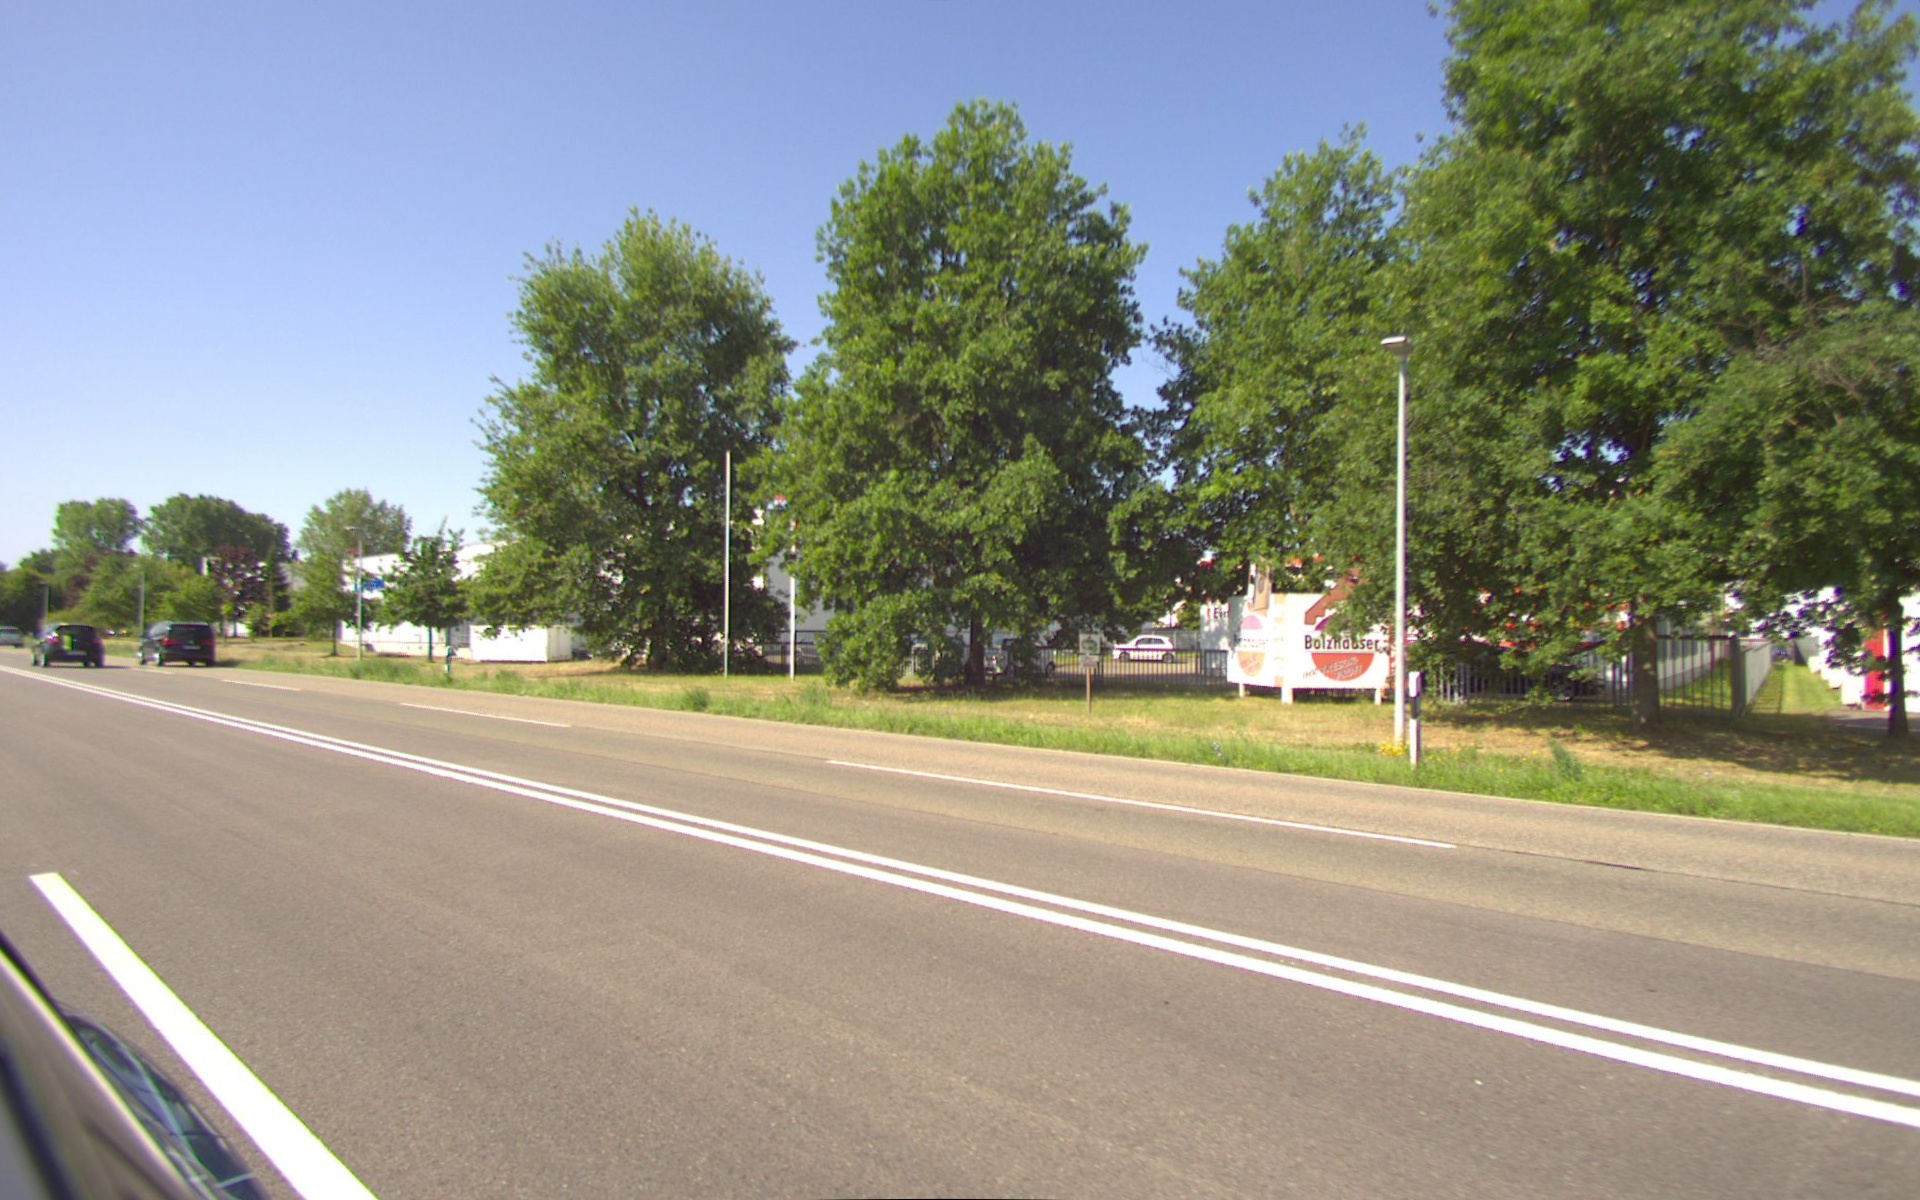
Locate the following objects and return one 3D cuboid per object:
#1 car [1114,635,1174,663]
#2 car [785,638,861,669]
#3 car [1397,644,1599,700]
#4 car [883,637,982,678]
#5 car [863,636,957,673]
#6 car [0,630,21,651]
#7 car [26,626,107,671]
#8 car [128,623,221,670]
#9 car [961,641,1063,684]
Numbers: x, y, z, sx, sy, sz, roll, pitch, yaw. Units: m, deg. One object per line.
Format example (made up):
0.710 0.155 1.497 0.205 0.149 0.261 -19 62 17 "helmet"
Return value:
10.541 2.823 58.188 3.346 1.571 1.464 0 -2 9 "car"
-6.724 2.587 49.571 3.720 1.400 1.619 -1 -2 41 "car"
14.675 1.922 27.735 4.657 1.360 1.769 -1 -3 39 "car"
-1.054 2.245 40.238 1.756 1.512 3.946 -1 -3 40 "car"
-2.136 2.335 43.473 3.941 1.512 1.741 0 -2 -2 "car"
-66.622 2.793 70.280 3.997 1.453 1.581 -1 -4 41 "car"
-30.543 1.648 34.565 3.773 1.461 1.501 -2 -4 41 "car"
-29.579 1.737 38.090 4.386 1.684 1.807 -1 -4 40 "car"
1.969 2.266 37.476 1.756 1.512 3.946 -1 -3 40 "car"
